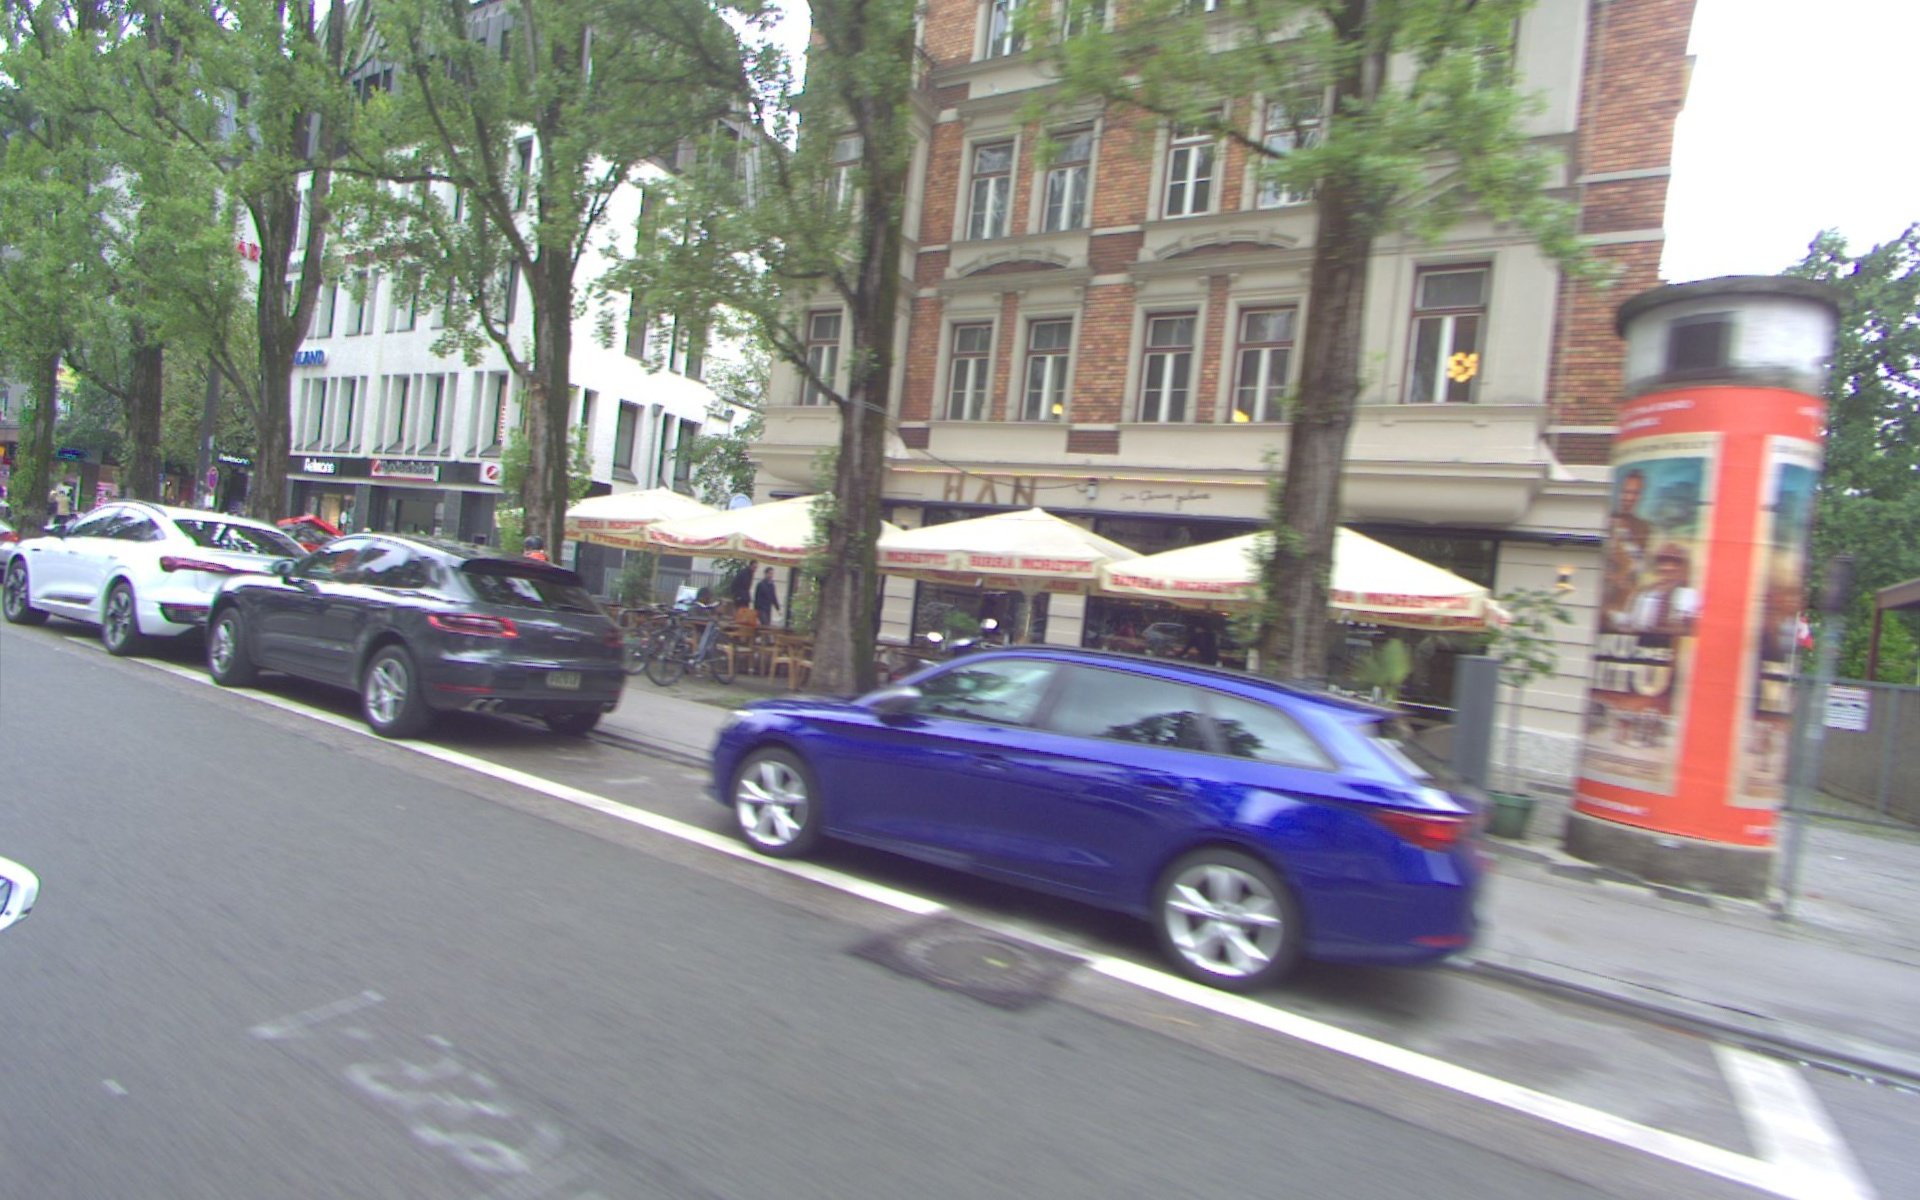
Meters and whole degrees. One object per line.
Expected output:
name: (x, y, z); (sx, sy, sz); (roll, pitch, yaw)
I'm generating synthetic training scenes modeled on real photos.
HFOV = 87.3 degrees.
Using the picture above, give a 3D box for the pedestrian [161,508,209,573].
pedestrian: (-20.759, -1.597, 26.951); (0.693, 1.620, 0.654); (7, -1, 32)

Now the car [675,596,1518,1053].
car: (0.655, 0.959, 5.880); (4.387, 1.423, 1.753); (7, 0, 28)

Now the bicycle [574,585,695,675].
bicycle: (-4.557, 0.452, 14.222); (0.364, 1.153, 1.834); (7, 0, 26)

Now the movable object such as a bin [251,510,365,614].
movable object such as a bin: (-12.214, -0.705, 18.844); (1.559, 1.724, 1.034); (7, 1, 28)

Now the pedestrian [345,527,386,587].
pedestrian: (-17.693, -1.276, 29.919); (0.692, 1.647, 0.654); (7, 1, 29)

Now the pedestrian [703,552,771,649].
pedestrian: (-4.483, 0.007, 20.252); (0.916, 1.825, 0.730); (7, 1, 32)

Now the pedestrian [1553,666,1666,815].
pedestrian: (7.971, 1.695, 12.388); (0.974, 1.629, 0.730); (7, 1, 32)

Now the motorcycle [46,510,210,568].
motorcycle: (-22.087, -1.582, 26.825); (1.172, 1.103, 3.127); (7, 0, 24)

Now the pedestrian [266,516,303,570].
pedestrian: (-22.422, -1.891, 33.411); (0.692, 1.647, 0.654); (7, 1, 29)

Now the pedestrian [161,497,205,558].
pedestrian: (-25.046, -2.330, 32.444); (0.671, 1.834, 0.794); (7, 1, 29)

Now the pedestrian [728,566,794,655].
pedestrian: (-4.118, 0.219, 20.791); (0.916, 1.698, 0.730); (7, 1, 32)

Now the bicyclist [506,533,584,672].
bicyclist: (-4.971, 0.041, 12.067); (0.385, 1.608, 0.622); (7, 1, 31)

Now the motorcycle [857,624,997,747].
motorcycle: (-0.327, 0.938, 11.290); (0.683, 1.194, 1.834); (7, 0, 26)

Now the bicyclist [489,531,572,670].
bicyclist: (-5.205, 0.016, 12.206); (0.473, 1.608, 0.622); (7, 1, 31)

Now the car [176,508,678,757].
car: (-4.986, 0.201, 9.276); (4.408, 1.585, 1.996); (7, 0, 31)

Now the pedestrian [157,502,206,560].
pedestrian: (-24.038, -2.135, 31.078); (0.751, 1.646, 0.738); (7, -1, 19)

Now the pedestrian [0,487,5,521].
pedestrian: (-43.913, -4.415, 45.627); (0.476, 1.545, 0.641); (7, 1, 31)

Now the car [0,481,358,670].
car: (-9.394, -0.328, 11.851); (4.668, 1.640, 1.831); (7, -1, 31)

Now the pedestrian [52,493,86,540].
pedestrian: (-35.771, -3.354, 40.384); (0.845, 1.771, 0.654); (6, -1, 32)

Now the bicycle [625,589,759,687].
bicycle: (-3.649, 0.552, 13.857); (0.566, 1.207, 1.874); (7, 0, 27)

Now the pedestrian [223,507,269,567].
pedestrian: (-23.159, -2.039, 32.625); (0.844, 1.771, 0.729); (7, -1, 26)

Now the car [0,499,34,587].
car: (-17.836, -1.201, 17.264); (4.058, 1.423, 1.674); (7, -2, 31)

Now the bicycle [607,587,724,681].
bicycle: (-4.092, 0.503, 14.111); (0.413, 1.207, 1.715); (7, 0, 27)

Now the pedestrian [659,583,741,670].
pedestrian: (-4.170, 0.438, 16.164); (0.719, 1.283, 0.929); (7, 1, 30)
